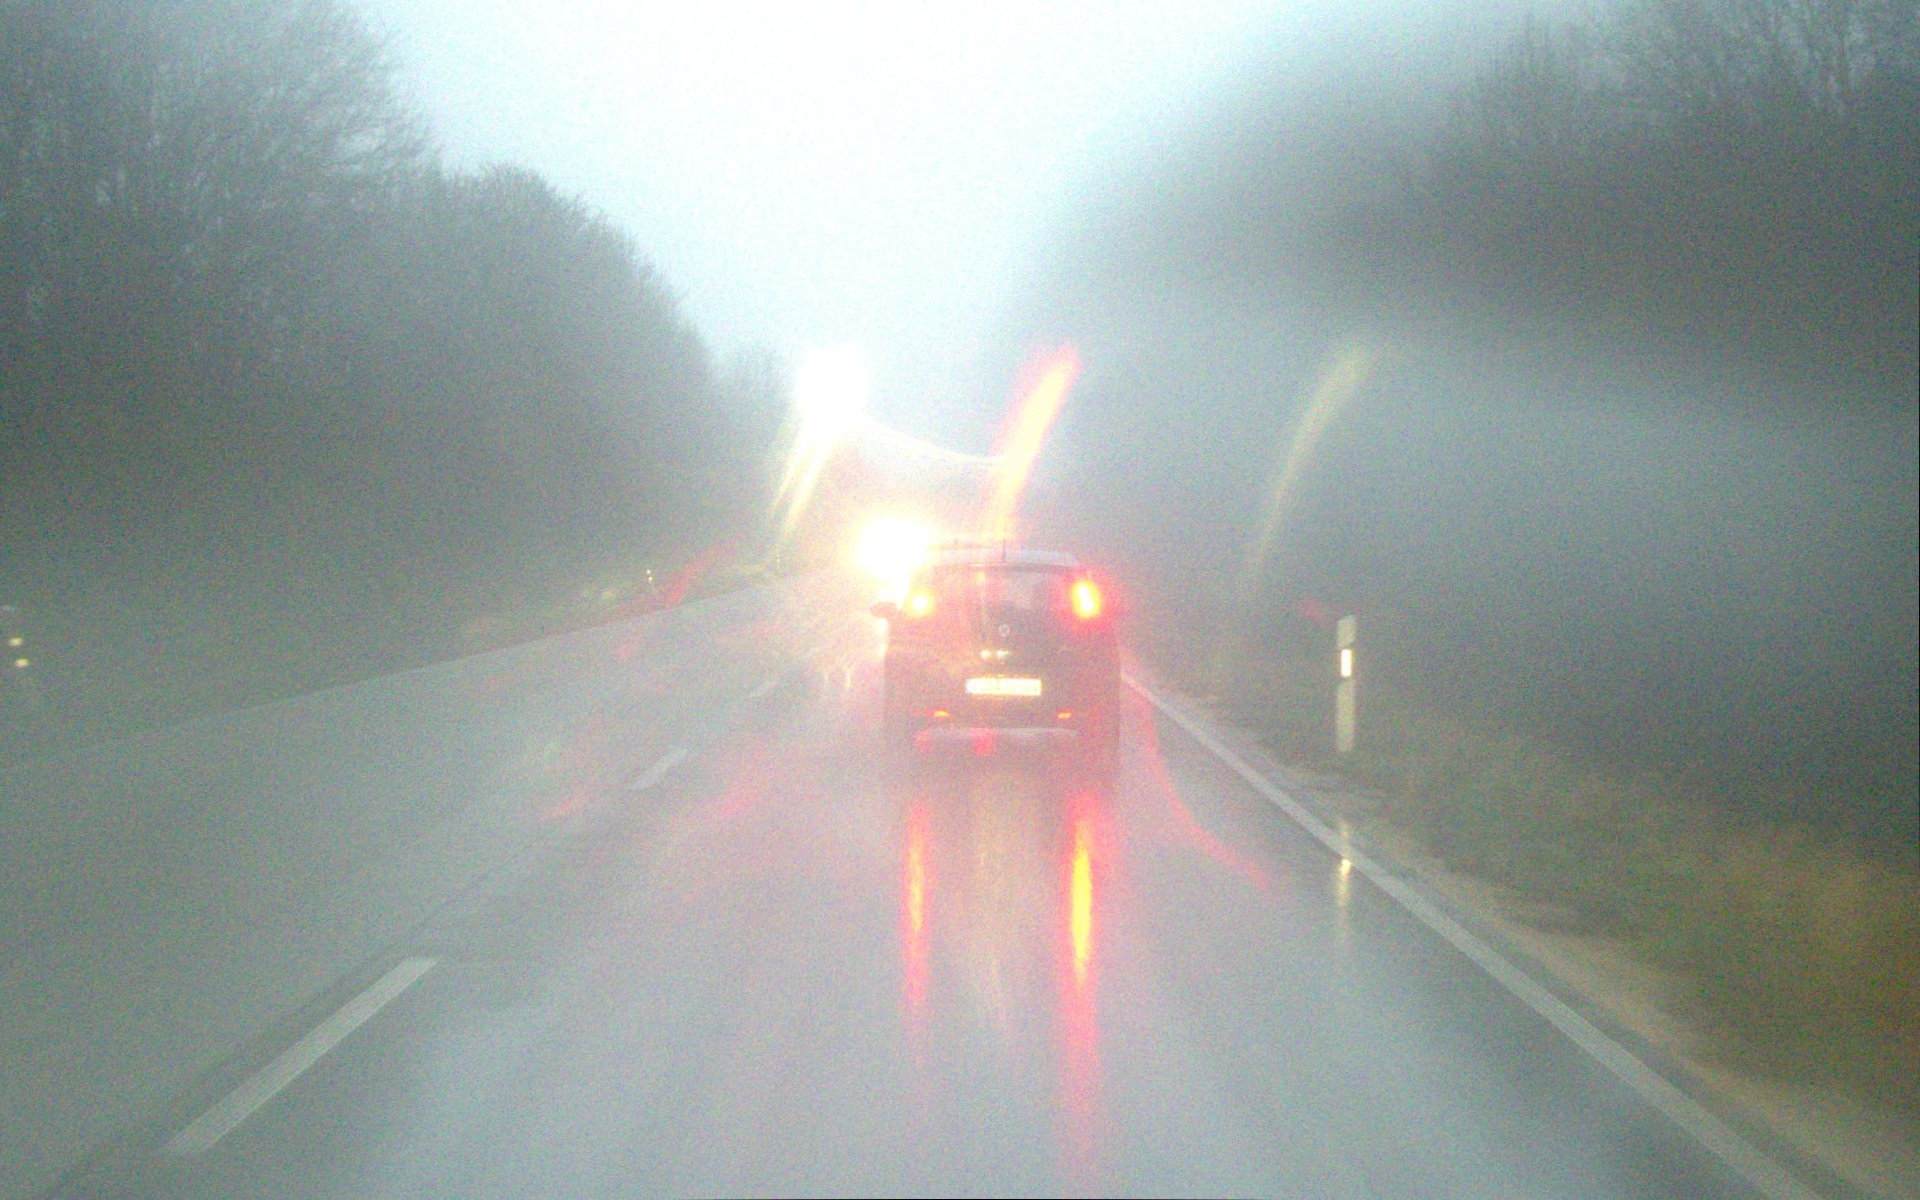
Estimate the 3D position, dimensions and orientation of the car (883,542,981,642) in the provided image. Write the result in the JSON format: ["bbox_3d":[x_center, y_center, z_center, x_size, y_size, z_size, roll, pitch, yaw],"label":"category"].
[{"bbox_3d":[-0.507,-0.170,63.703,1.733,1.773,4.000,1,1,0],"label":"car"}]

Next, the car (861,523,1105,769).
[{"bbox_3d":[0.195,0.288,25.421,1.648,1.666,3.514,1,1,1],"label":"car"}]
